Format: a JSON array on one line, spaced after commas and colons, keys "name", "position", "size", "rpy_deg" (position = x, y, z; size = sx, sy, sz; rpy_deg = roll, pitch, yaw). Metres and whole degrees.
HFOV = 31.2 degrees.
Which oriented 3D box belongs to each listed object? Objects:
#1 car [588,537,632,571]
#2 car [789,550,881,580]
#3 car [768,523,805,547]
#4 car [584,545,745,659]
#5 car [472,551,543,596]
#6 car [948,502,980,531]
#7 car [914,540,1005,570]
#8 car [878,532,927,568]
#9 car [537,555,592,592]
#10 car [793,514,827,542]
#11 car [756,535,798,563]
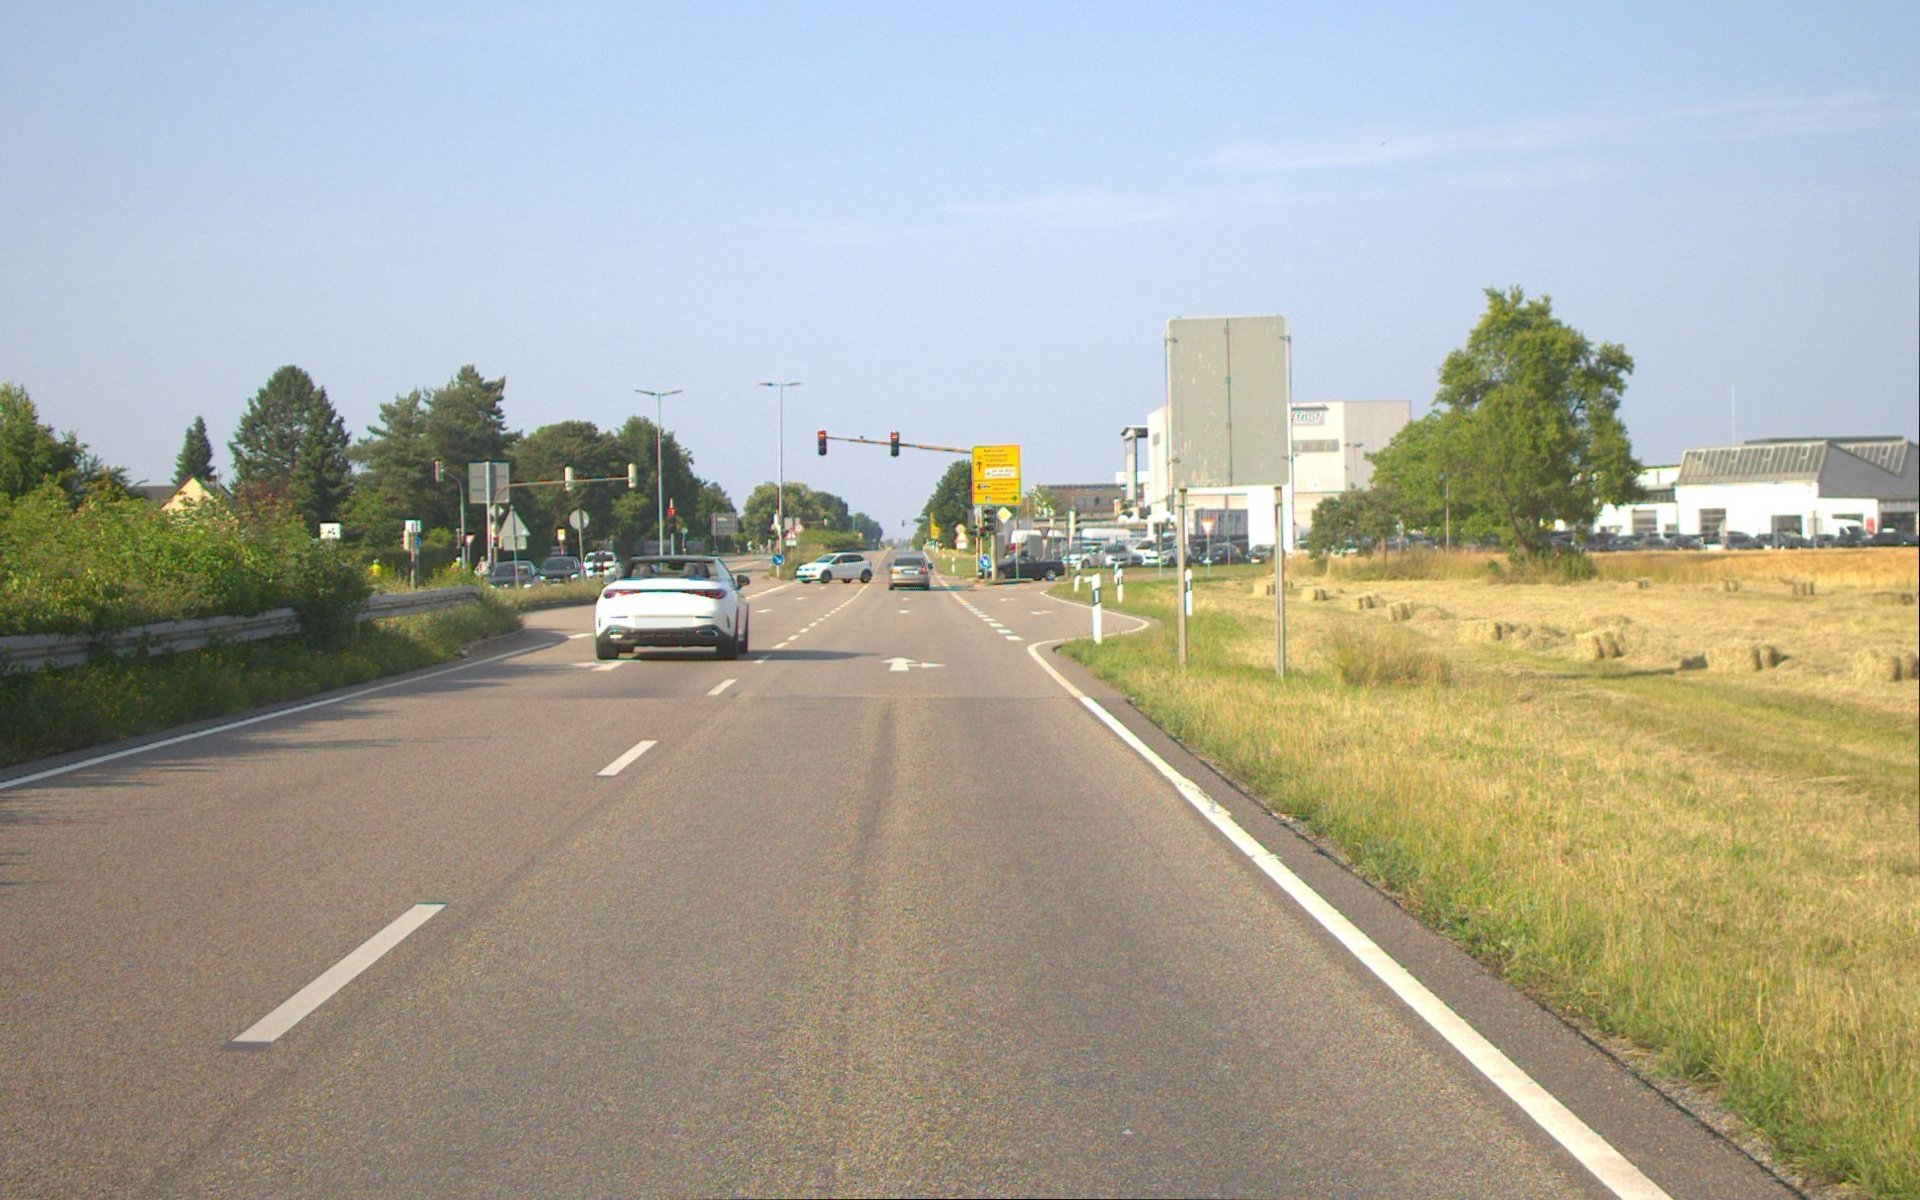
[{"name": "car", "position": [-18.848, -2.503, 185.015], "size": [1.947, 1.794, 4.000], "rpy_deg": [0, 1, 0]}, {"name": "car", "position": [-6.031, -1.691, 165.831], "size": [3.988, 1.403, 1.954], "rpy_deg": [0, 1, -36]}, {"name": "car", "position": [-10.246, -3.851, 202.937], "size": [1.947, 1.403, 4.000], "rpy_deg": [0, 1, 0]}, {"name": "car", "position": [-3.911, -0.007, 46.057], "size": [1.909, 1.417, 4.000], "rpy_deg": [0, 1, -2]}, {"name": "car", "position": [-15.610, -0.942, 118.669], "size": [1.993, 1.481, 4.227], "rpy_deg": [0, 1, -2]}, {"name": "car", "position": [0.258, -5.266, 217.086], "size": [1.993, 1.751, 4.000], "rpy_deg": [0, 1, 0]}, {"name": "car", "position": [-0.048, -2.188, 167.156], "size": [3.986, 1.403, 1.955], "rpy_deg": [0, 1, -20]}, {"name": "car", "position": [-2.397, -2.092, 143.280], "size": [1.993, 1.481, 4.000], "rpy_deg": [0, 1, -2]}, {"name": "car", "position": [-15.761, -1.051, 137.166], "size": [1.729, 1.403, 4.000], "rpy_deg": [0, 1, 0]}, {"name": "car", "position": [-9.488, -4.554, 217.152], "size": [1.947, 1.766, 4.000], "rpy_deg": [0, 1, 0]}, {"name": "car", "position": [-9.493, -2.644, 178.187], "size": [1.947, 1.403, 4.000], "rpy_deg": [0, 1, 0]}]
